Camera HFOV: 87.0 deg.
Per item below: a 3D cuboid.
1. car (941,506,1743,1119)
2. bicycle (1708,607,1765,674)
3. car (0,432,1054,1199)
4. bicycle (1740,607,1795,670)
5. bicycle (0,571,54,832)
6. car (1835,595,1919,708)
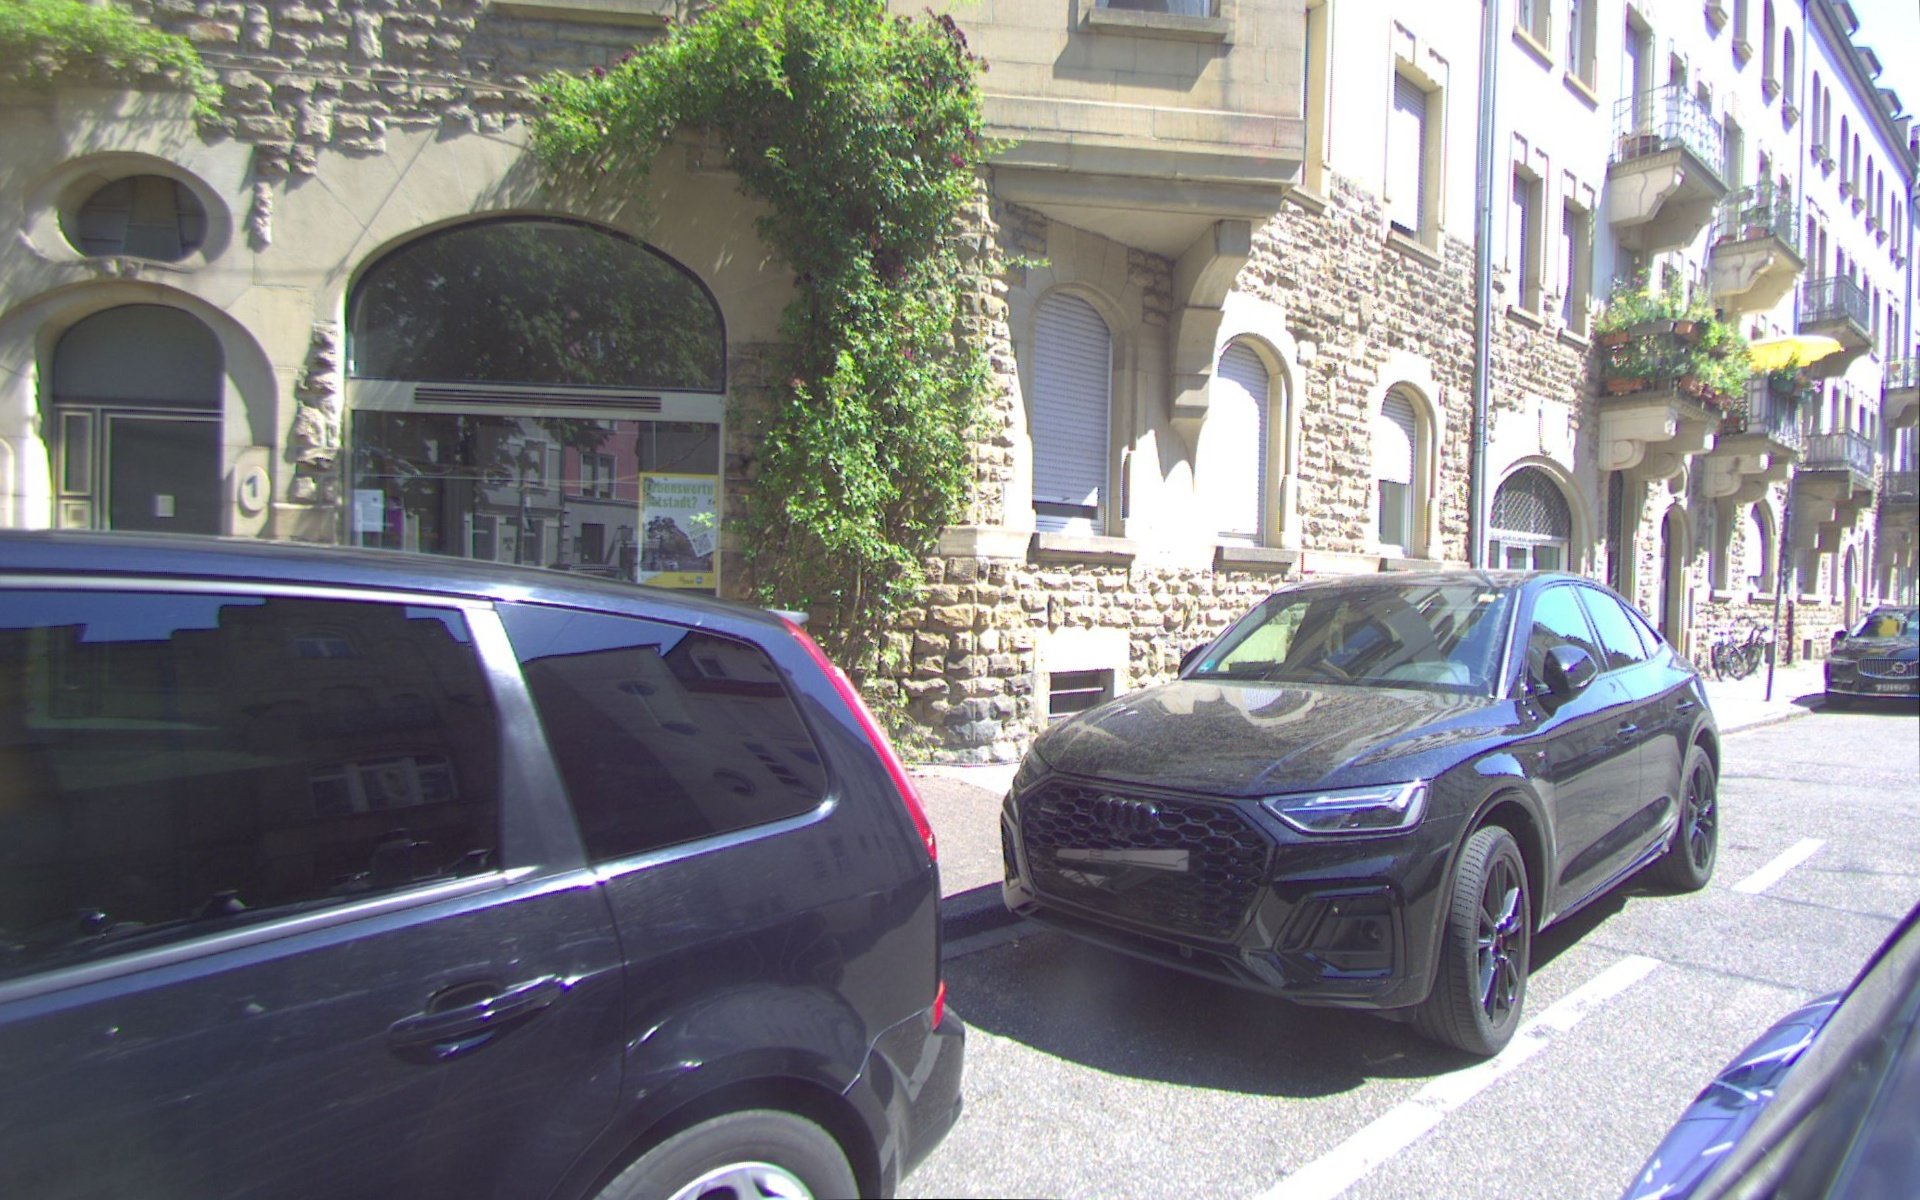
[{"bbox_3d":[2.090,0.564,4.751,4.272,1.617,1.738,0,-1,-41],"label":"car"},{"bbox_3d":[14.809,0.751,19.289,1.742,1.222,0.385,0,2,-38],"label":"bicycle"},{"bbox_3d":[-1.899,0.602,1.409,4.103,1.560,1.666,0,-1,-40],"label":"car"},{"bbox_3d":[16.616,0.774,20.806,1.742,1.222,0.442,0,2,-38],"label":"bicycle"},{"bbox_3d":[-5.671,0.451,4.352,2.527,1.183,0.797,0,2,-31],"label":"bicycle"},{"bbox_3d":[15.312,0.733,15.786,4.523,1.587,1.836,0,0,-40],"label":"car"}]
